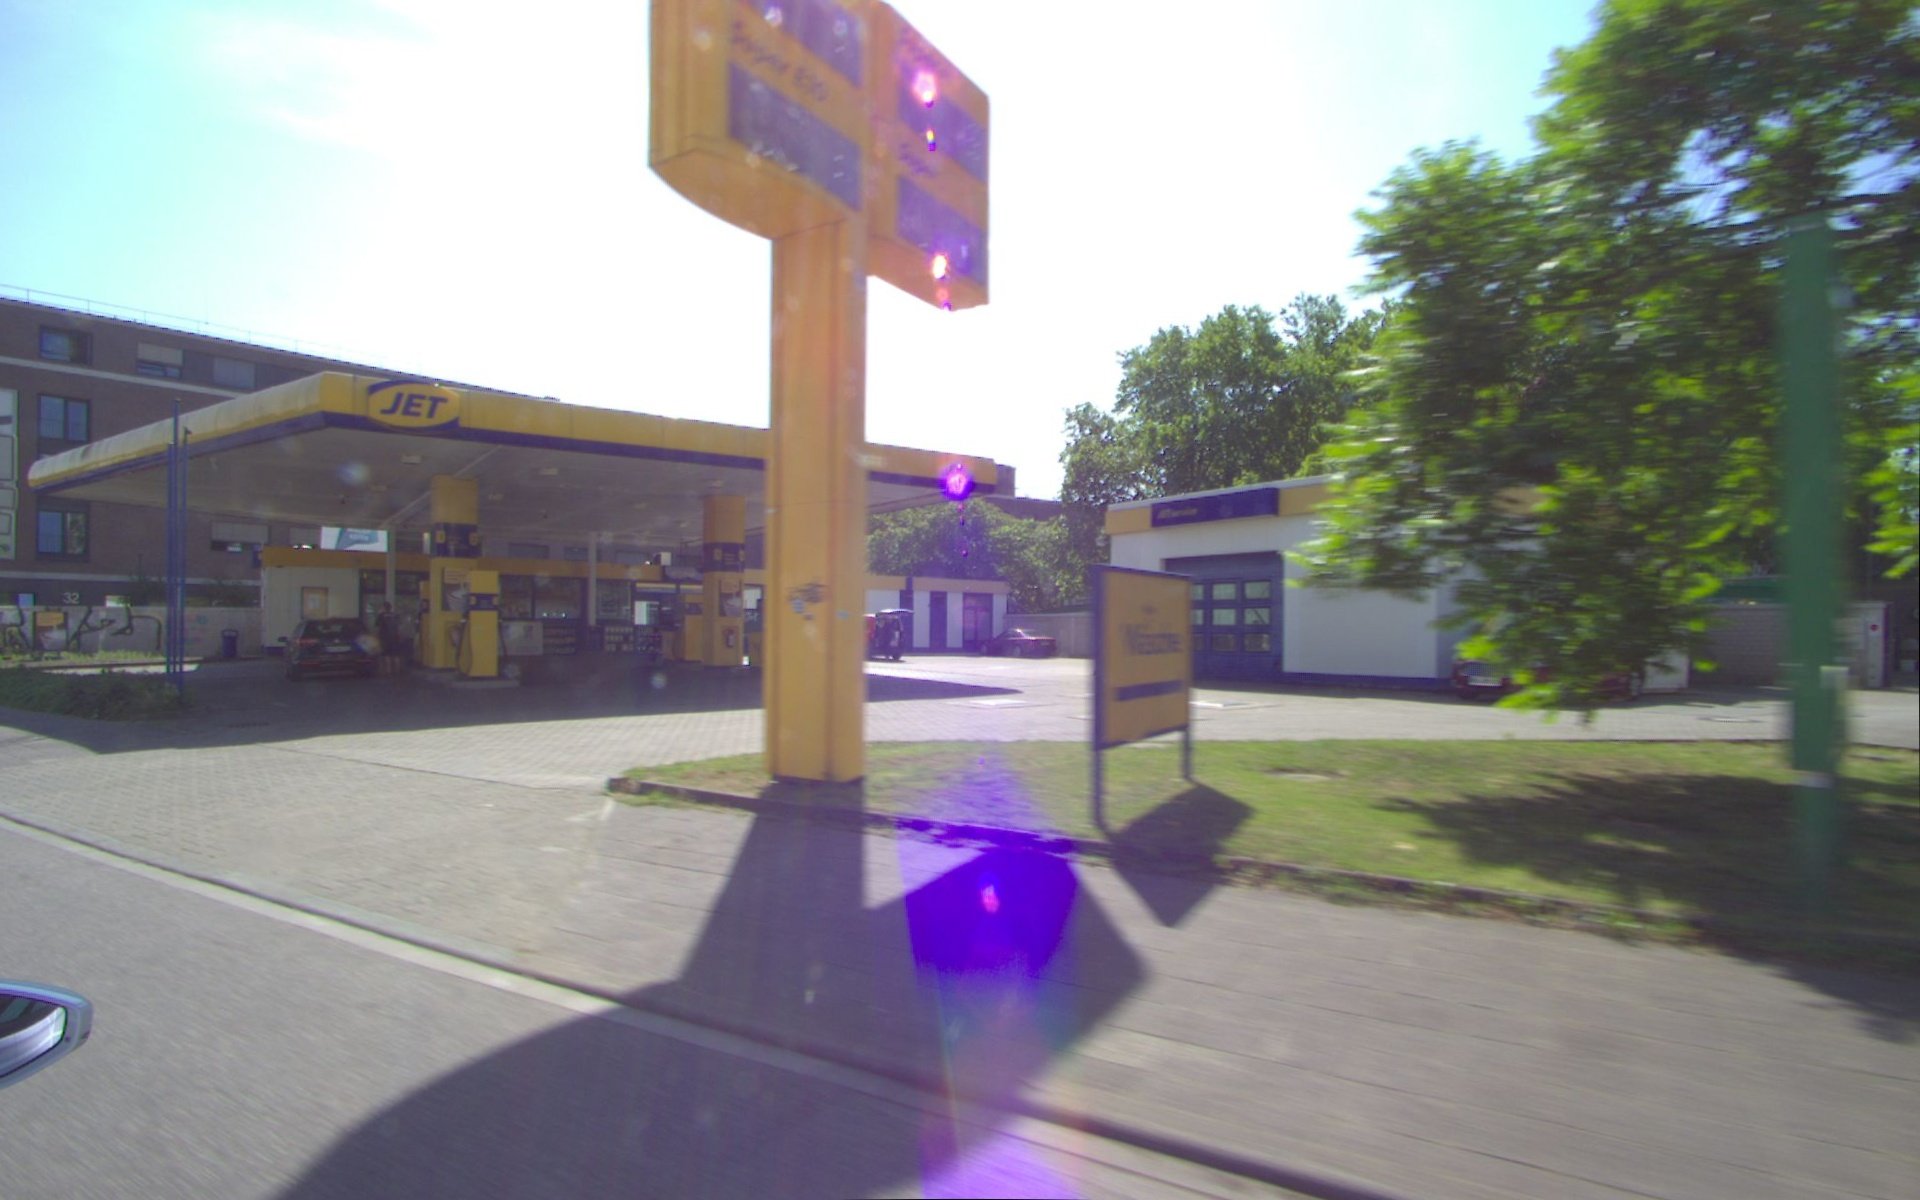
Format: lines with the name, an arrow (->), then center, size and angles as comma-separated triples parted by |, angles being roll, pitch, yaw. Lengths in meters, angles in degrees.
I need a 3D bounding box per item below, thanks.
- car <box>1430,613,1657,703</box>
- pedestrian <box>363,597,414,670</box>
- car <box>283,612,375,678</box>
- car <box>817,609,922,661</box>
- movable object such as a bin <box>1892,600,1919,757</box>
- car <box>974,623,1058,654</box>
car -> 10.807, 0.995, 18.459 | 4.497, 1.479, 1.880 | 1, -1, -34
pedestrian -> -13.981, 0.806, 24.505 | 0.734, 1.748, 0.854 | 0, 0, 33
car -> -15.663, 1.048, 24.746 | 1.739, 1.474, 4.380 | 1, -1, -35
car -> -3.847, 1.399, 41.570 | 1.741, 2.008, 5.264 | 0, -1, -39
movable object such as a bin -> 10.081, 0.762, 9.666 | 1.360, 1.522, 1.414 | 0, -1, 33
car -> 2.570, 1.769, 46.991 | 1.740, 1.378, 4.102 | 0, -1, -37
